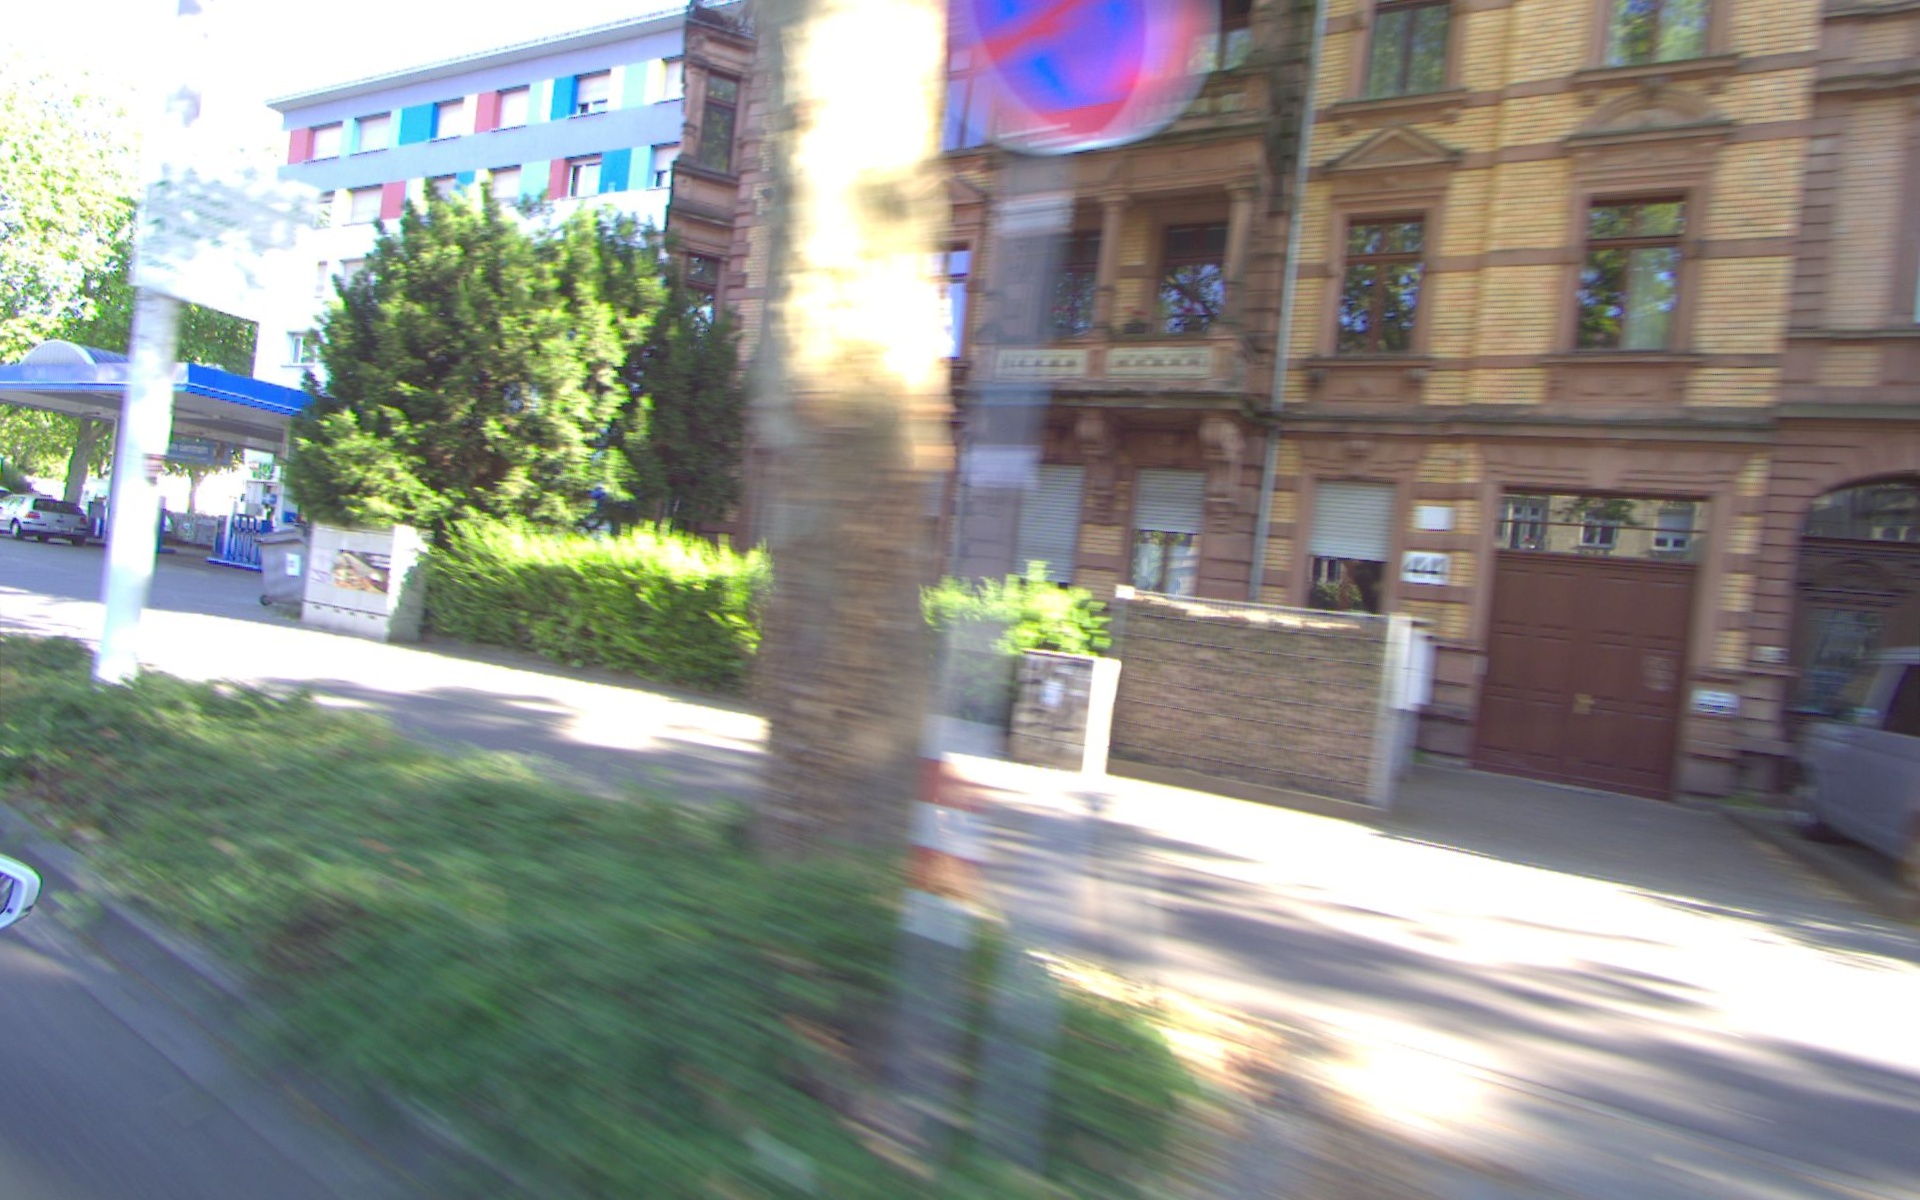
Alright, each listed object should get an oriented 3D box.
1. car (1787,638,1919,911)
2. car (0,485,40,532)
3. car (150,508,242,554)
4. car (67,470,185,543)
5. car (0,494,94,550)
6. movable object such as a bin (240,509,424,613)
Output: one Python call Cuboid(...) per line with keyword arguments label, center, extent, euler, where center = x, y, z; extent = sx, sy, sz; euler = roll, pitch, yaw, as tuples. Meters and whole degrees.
Cuboid(label="car", center=(8.608, 1.431, 8.087), extent=(1.881, 2.040, 4.579), euler=(7, 1, 27))
Cuboid(label="car", center=(-42.102, -4.131, 43.507), extent=(4.714, 1.757, 1.863), euler=(8, 1, 28))
Cuboid(label="car", center=(-38.171, -3.466, 50.262), extent=(3.929, 1.760, 1.998), euler=(7, 0, 26))
Cuboid(label="car", center=(-40.378, -4.544, 48.670), extent=(5.696, 2.868, 2.245), euler=(7, 0, 28))
Cuboid(label="car", center=(-29.552, -2.536, 31.984), extent=(4.026, 1.448, 1.570), euler=(7, 0, 27))
Cuboid(label="movable object such as a bin", center=(-11.100, -0.663, 17.865), extent=(1.714, 1.509, 2.041), euler=(7, 0, 23))
